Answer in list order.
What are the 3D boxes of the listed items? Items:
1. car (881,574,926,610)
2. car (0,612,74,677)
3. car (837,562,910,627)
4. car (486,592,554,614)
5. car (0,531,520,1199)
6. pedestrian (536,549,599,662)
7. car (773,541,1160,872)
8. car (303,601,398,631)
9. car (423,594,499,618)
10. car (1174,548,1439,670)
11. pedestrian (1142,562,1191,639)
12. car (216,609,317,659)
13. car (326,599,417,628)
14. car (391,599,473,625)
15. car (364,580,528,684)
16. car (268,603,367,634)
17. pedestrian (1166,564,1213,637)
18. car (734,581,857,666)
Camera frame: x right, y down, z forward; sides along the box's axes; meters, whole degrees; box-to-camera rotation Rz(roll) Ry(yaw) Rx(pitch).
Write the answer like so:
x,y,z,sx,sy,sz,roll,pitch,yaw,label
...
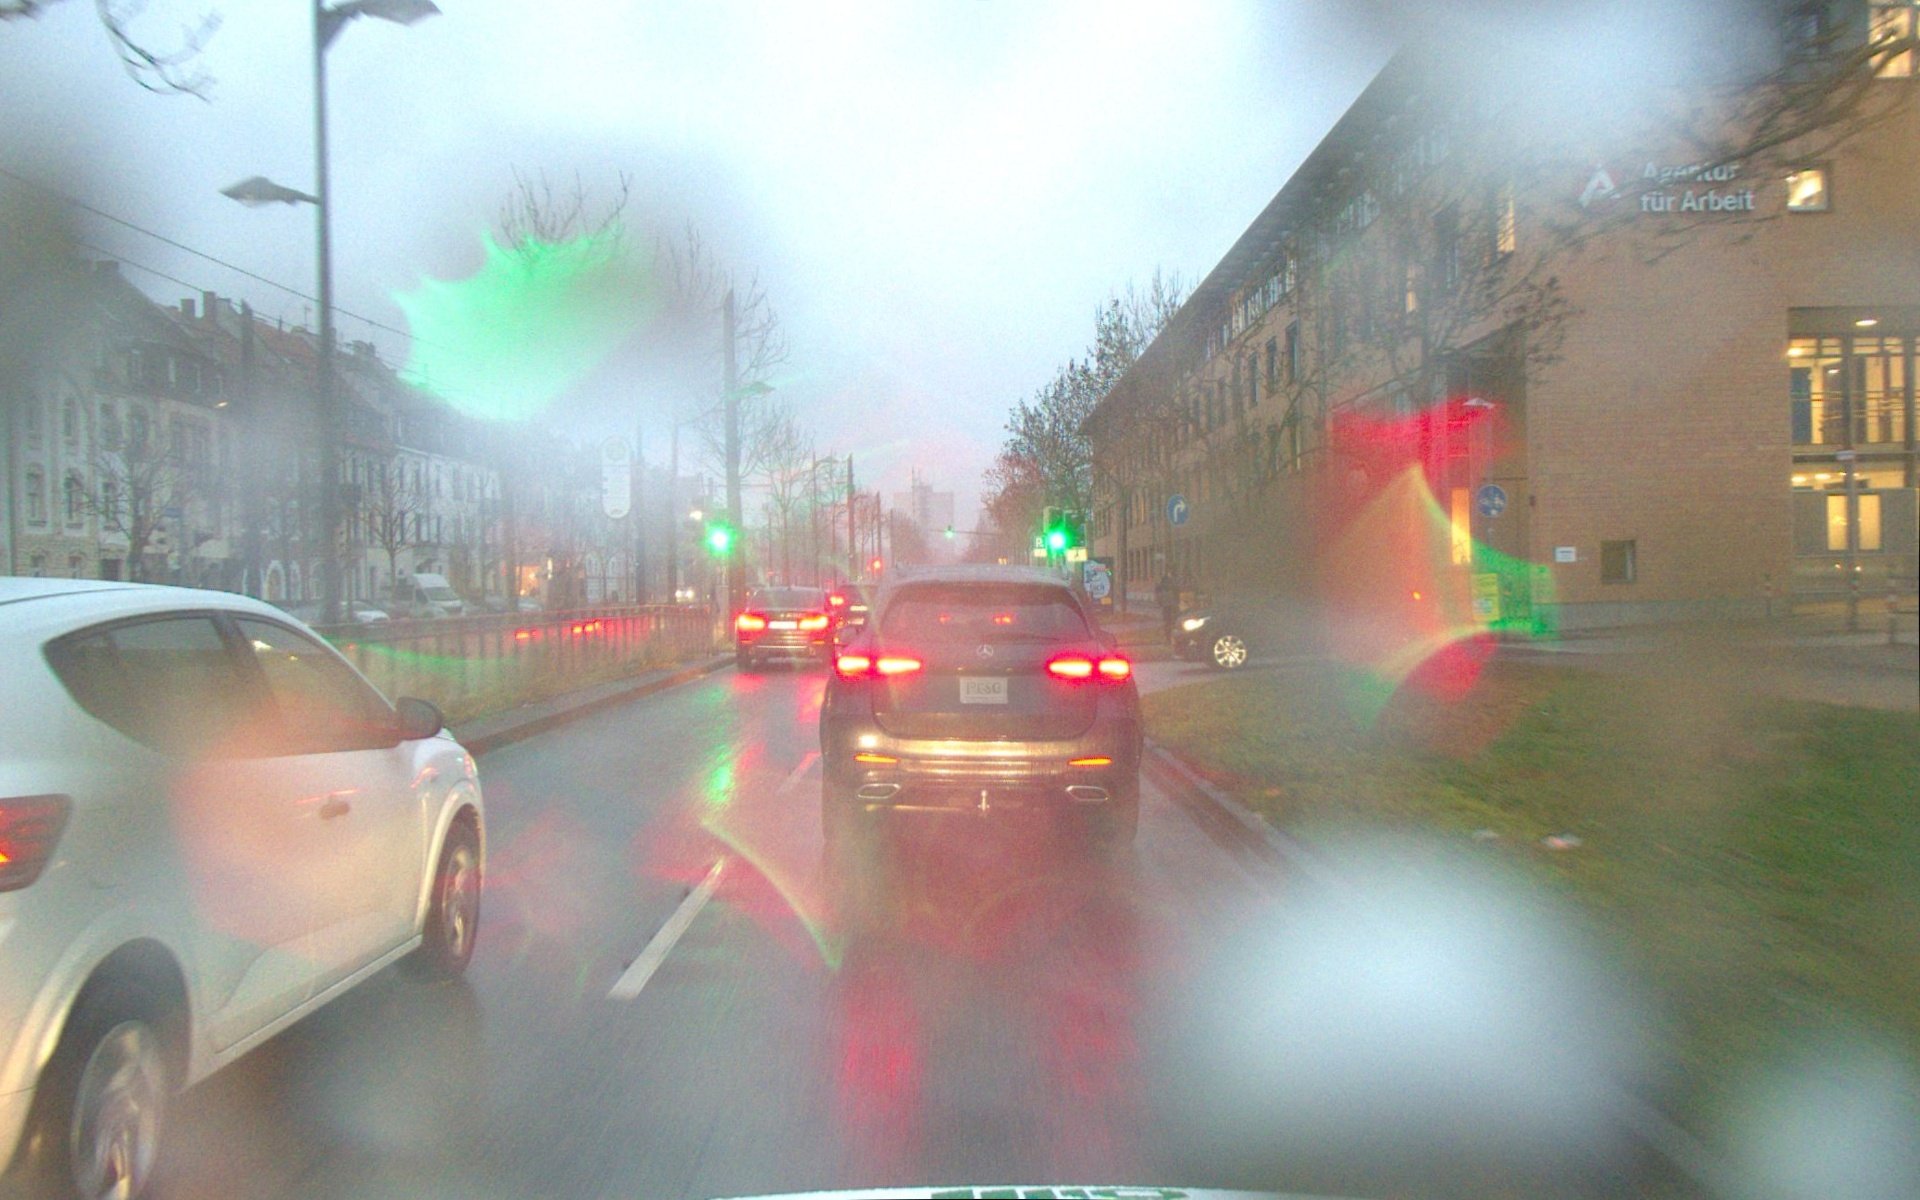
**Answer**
x,y,z,sx,sy,sz,roll,pitch,yaw,label
-2.784,-0.416,81.789,1.952,1.646,4.001,-2,1,1,car
-22.700,1.061,38.924,1.620,1.422,3.767,-2,1,-1,car
-2.543,-0.173,49.267,1.953,1.796,4.000,-2,1,-1,car
-27.256,0.169,102.506,3.694,1.176,1.651,-2,1,5,car
-2.620,0.621,4.872,1.593,1.513,3.999,-2,1,-1,car
-5.616,0.074,23.687,0.684,1.579,0.669,-2,0,-1,pedestrian
0.016,0.525,10.561,1.950,1.644,4.000,-2,1,-1,car
-28.062,0.726,76.239,3.694,1.176,1.651,-2,1,5,car
-27.871,0.340,92.425,3.694,1.176,1.651,-2,1,5,car
5.445,0.128,26.349,3.781,1.587,1.766,-4,1,1,car
4.478,0.009,35.852,0.888,1.624,0.499,-2,0,42,pedestrian
-22.126,1.053,52.895,1.620,1.422,3.767,-2,1,-1,car
-28.129,0.645,79.149,3.694,1.176,1.651,-2,1,5,car
-27.565,0.637,86.386,3.694,1.176,1.651,-2,1,5,car
-10.075,0.572,32.727,1.953,1.854,4.000,-3,1,-1,car
-28.462,0.797,73.325,3.694,1.176,1.651,-2,1,5,car
5.267,0.012,38.019,0.888,1.624,0.499,-2,0,42,pedestrian
-3.038,0.391,31.262,1.953,1.422,3.999,-2,1,-1,car
